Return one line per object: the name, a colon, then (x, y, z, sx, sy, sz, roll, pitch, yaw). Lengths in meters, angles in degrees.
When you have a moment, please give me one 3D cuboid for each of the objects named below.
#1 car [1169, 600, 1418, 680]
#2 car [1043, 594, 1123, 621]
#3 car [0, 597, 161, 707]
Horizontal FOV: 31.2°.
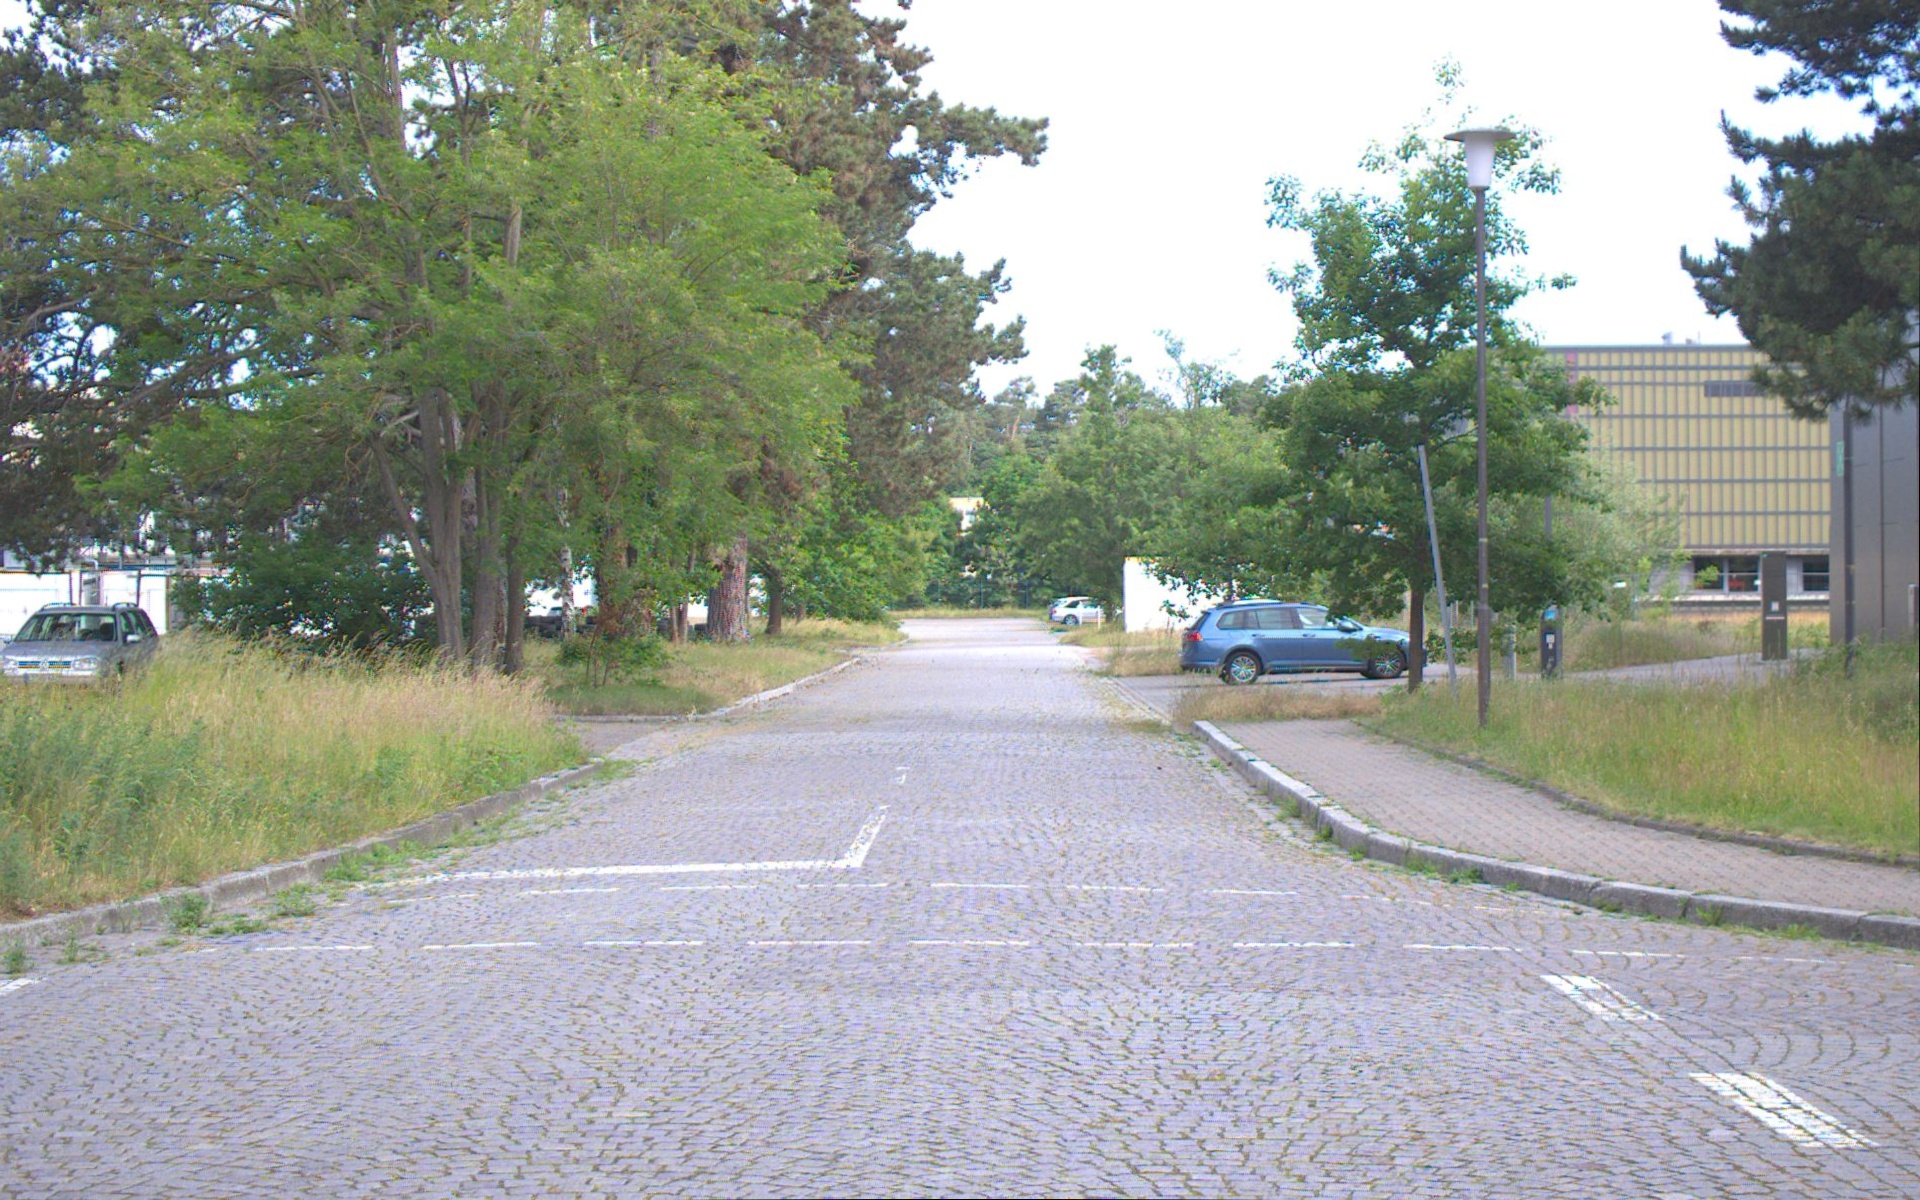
car: (6.108, 0.717, 63.274, 4.344, 1.417, 2.000, 0, 0, -1)
car: (6.426, 0.391, 180.359, 3.986, 1.393, 2.000, 0, 0, -5)
car: (-12.629, 0.702, 48.783, 1.613, 1.482, 4.000, 0, 0, 1)
